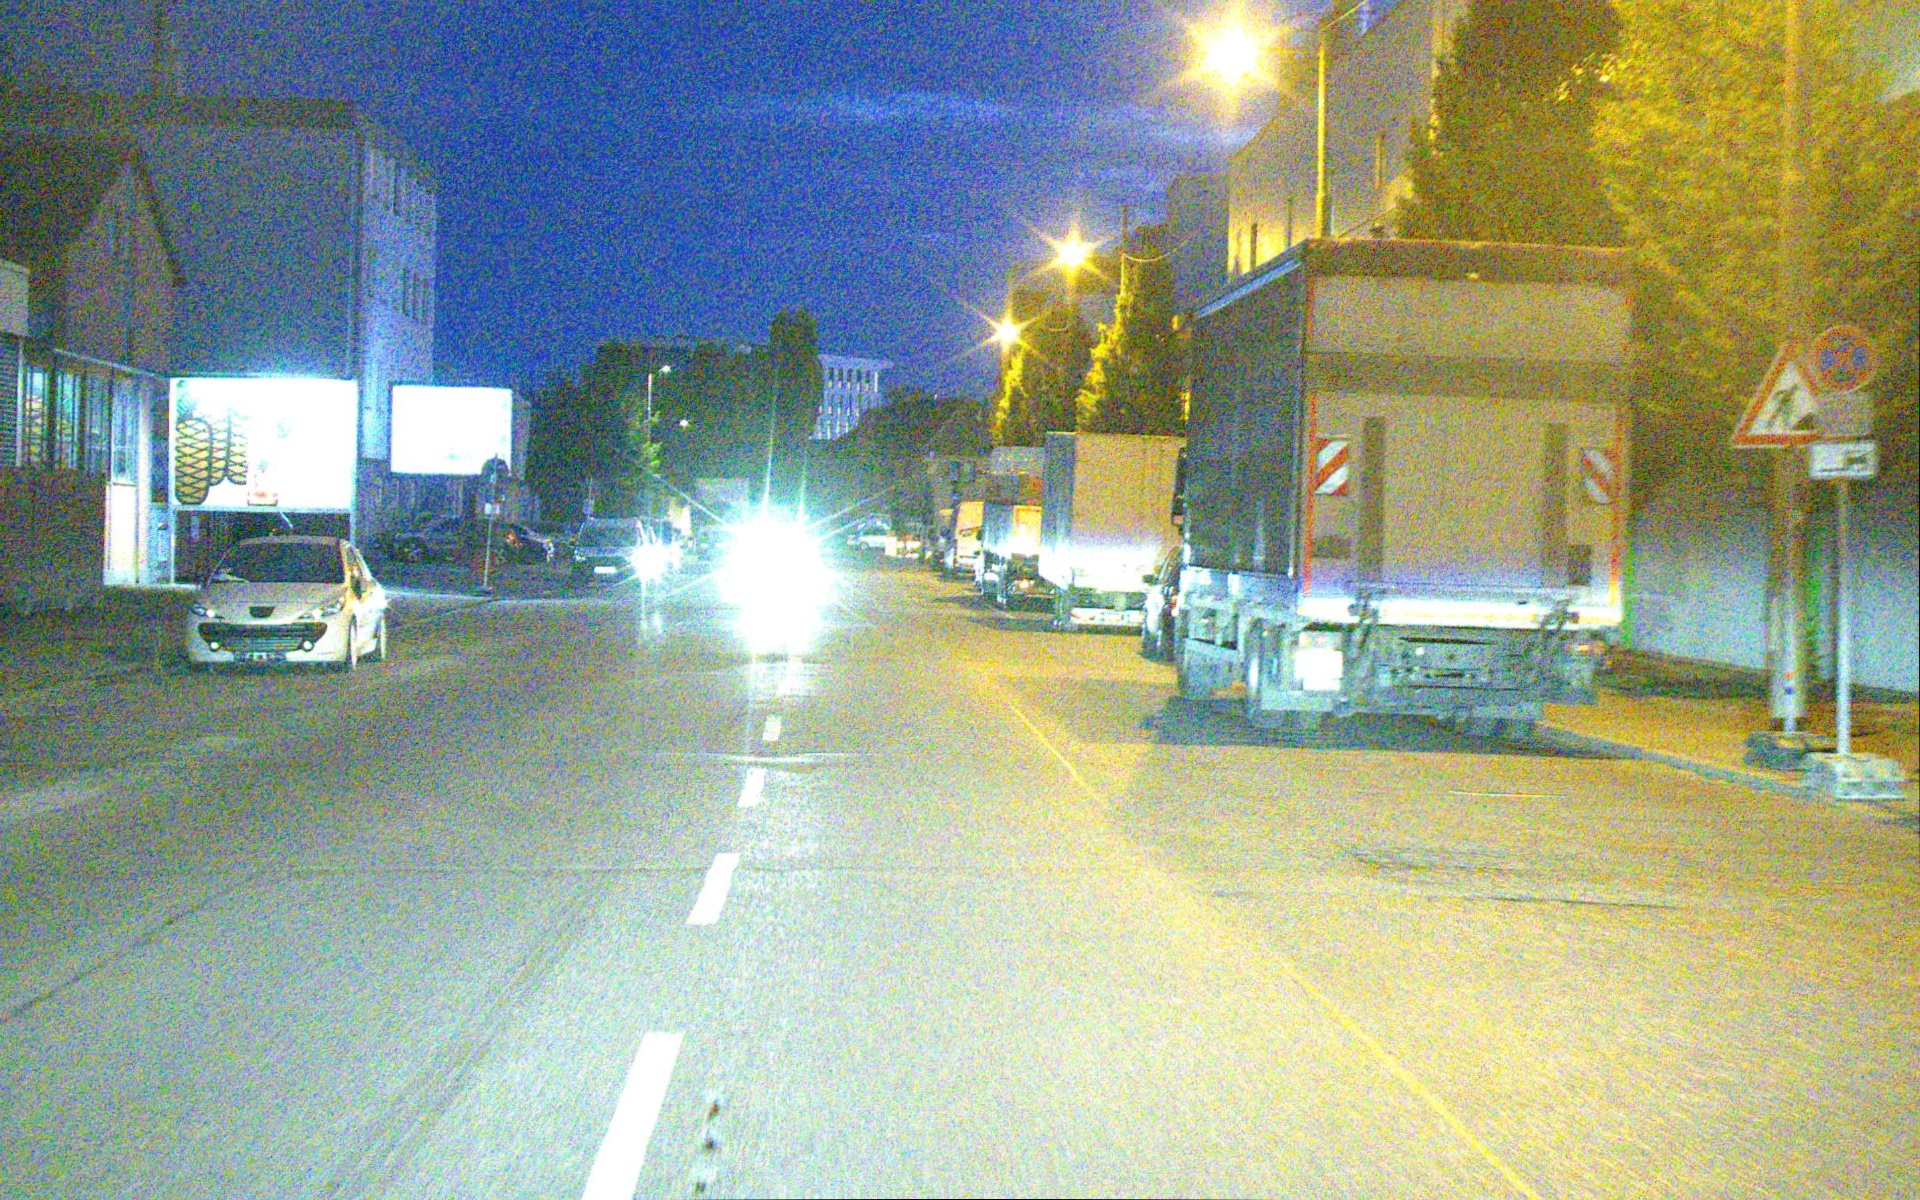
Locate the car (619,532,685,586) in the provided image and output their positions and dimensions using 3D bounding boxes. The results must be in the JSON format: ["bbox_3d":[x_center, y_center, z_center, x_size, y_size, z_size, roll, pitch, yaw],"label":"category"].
[{"bbox_3d":[-10.285,-1.380,114.992,1.897,1.730,4.356,2,1,-2],"label":"car"}]

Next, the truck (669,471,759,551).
[{"bbox_3d":[-11.948,-4.272,166.370,3.889,3.609,8.262,2,1,-7],"label":"truck"}]

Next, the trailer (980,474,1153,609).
[{"bbox_3d":[2.202,-1.232,75.651,3.184,2.739,10.716,0,0,-2],"label":"trailer"}]

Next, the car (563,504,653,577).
[{"bbox_3d":[-9.103,-1.529,89.171,1.993,1.787,4.000,2,1,-2],"label":"car"}]

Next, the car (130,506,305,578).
[{"bbox_3d":[-18.546,-1.451,86.003,3.986,1.645,2.000,2,1,-4],"label":"car"}]

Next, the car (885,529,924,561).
[{"bbox_3d":[-3.030,-3.014,187.376,1.993,1.678,4.000,2,1,-2],"label":"car"}]

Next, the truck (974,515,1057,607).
[{"bbox_3d":[1.497,-1.089,94.955,1.993,2.399,5.293,2,1,-2],"label":"truck"}]

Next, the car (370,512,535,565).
[{"bbox_3d":[-15.589,-1.889,105.616,4.612,1.480,2.001,1,1,-24],"label":"car"}]

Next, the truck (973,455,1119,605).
[{"bbox_3d":[1.999,-1.640,82.788,3.151,3.451,6.673,0,0,-1],"label":"truck"}]

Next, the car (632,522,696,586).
[{"bbox_3d":[-8.474,-1.320,98.670,1.678,1.730,4.356,2,1,-3],"label":"car"}]

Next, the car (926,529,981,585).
[{"bbox_3d":[-0.274,-1.735,137.064,1.993,2.138,4.000,2,1,-2],"label":"car"}]

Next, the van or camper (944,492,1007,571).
[{"bbox_3d":[0.500,-2.317,116.665,1.993,2.573,4.915,2,1,-1],"label":"van or camper"}]

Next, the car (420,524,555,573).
[{"bbox_3d":[-15.667,-1.696,114.036,3.986,1.589,2.000,0,0,-27],"label":"car"}]

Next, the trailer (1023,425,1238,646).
[{"bbox_3d":[2.826,-1.070,59.335,2.686,3.452,7.810,2,0,-4],"label":"trailer"}]

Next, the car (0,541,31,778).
[{"bbox_3d":[-6.236,0.343,18.282,1.601,1.349,4.000,2,1,-2],"label":"car"}]

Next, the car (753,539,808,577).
[{"bbox_3d":[-6.975,-1.646,134.065,1.993,1.393,4.000,2,1,-2],"label":"car"}]

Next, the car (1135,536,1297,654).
[{"bbox_3d":[3.427,-0.076,46.632,1.852,1.514,3.818,0,0,-1],"label":"car"}]

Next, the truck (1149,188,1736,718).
[{"bbox_3d":[3.925,-1.138,31.076,3.520,3.970,10.343,0,0,-2],"label":"truck"}]

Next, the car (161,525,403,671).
[{"bbox_3d":[-7.165,-0.051,36.685,1.841,1.415,4.000,2,1,-2],"label":"car"}]
